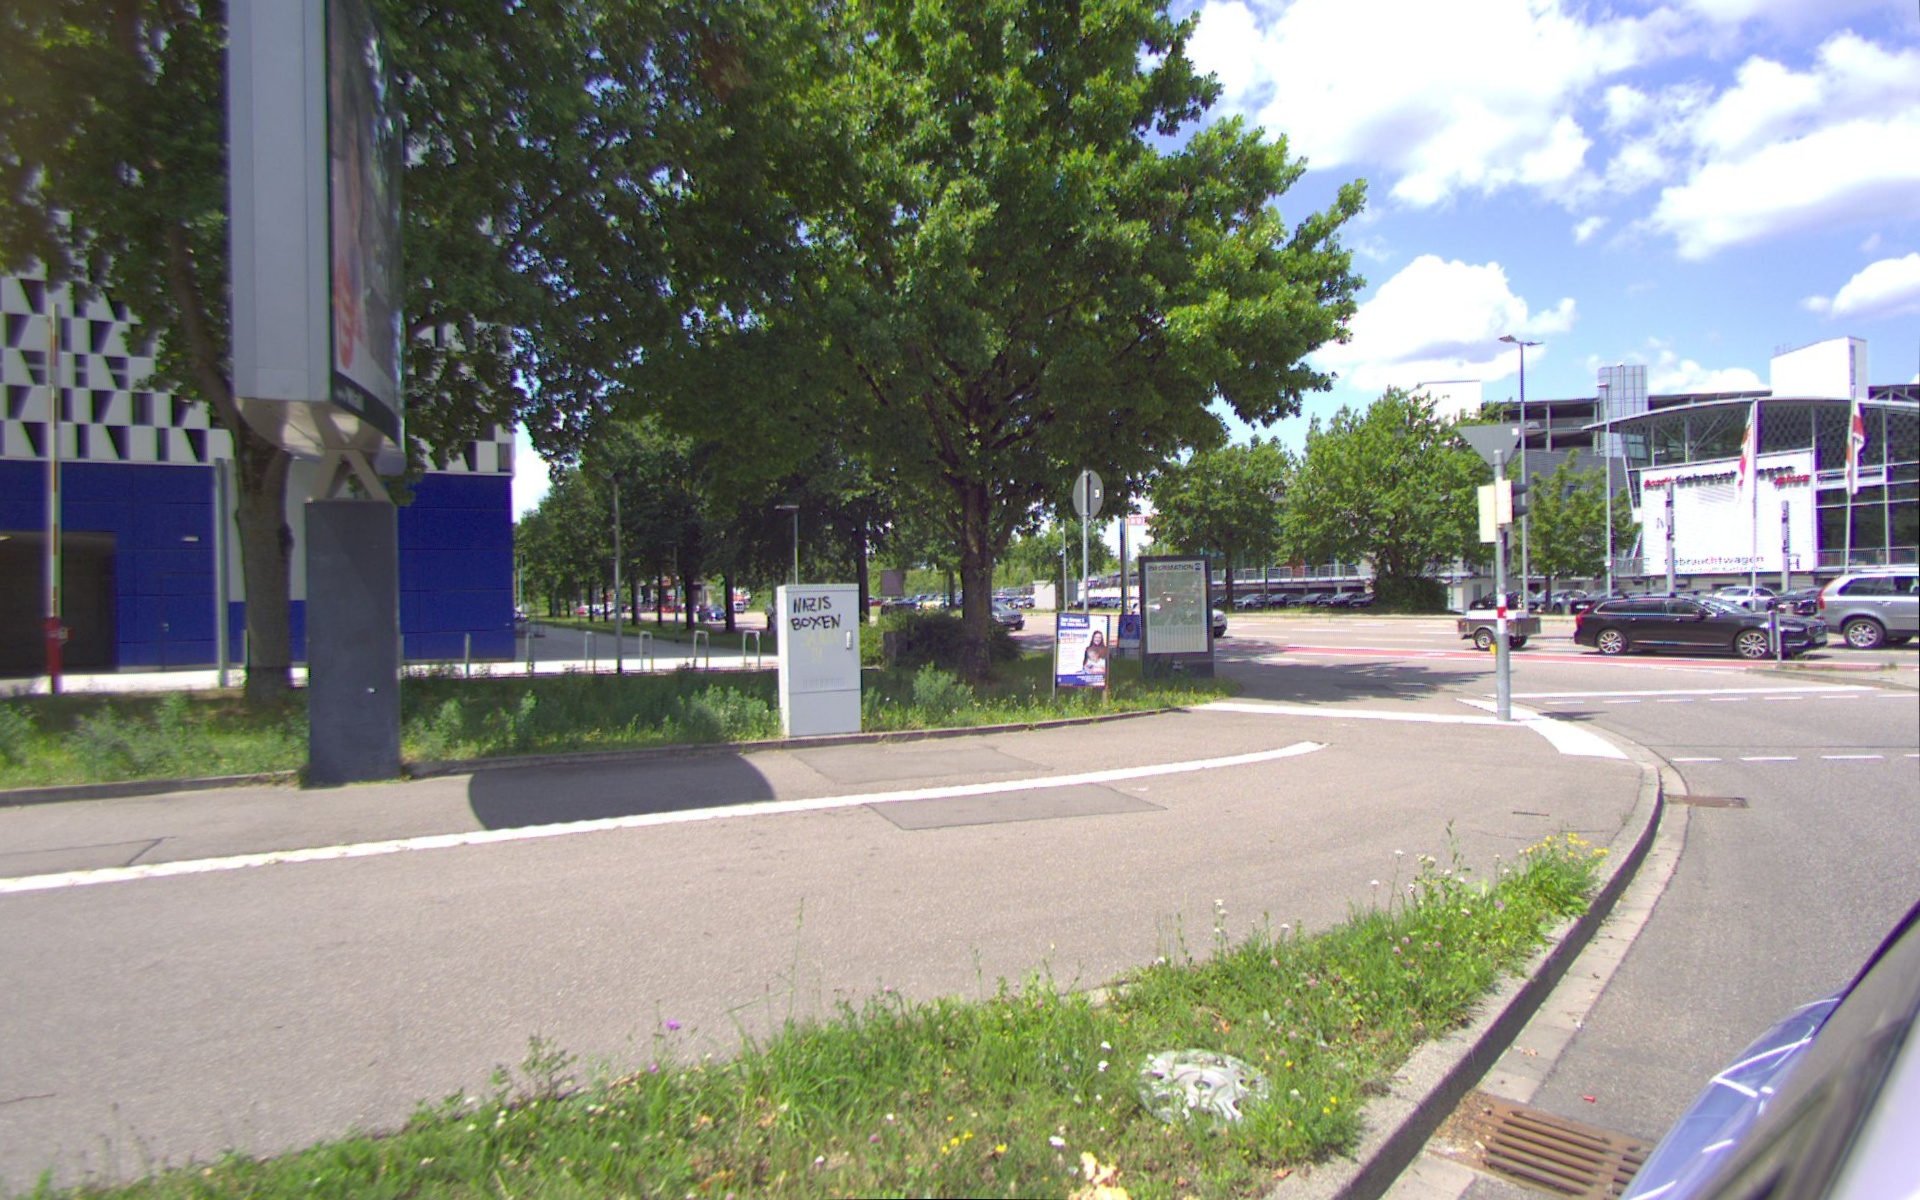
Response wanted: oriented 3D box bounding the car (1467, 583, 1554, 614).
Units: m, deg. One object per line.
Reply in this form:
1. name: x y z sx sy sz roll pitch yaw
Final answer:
1. car: 29.411 -0.088 54.121 3.916 1.571 1.801 0 0 -16

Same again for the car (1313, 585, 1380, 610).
1. car: 24.727 -0.164 64.687 3.917 1.571 1.800 -1 0 -25

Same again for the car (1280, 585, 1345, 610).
1. car: 23.425 -0.181 67.230 3.917 1.571 1.800 -1 0 -25

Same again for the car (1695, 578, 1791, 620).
1. car: 34.467 -0.032 44.551 3.682 1.750 1.866 -1 0 -26

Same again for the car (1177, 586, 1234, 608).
1. car: 18.424 -0.238 76.010 3.917 1.571 1.800 -1 0 -25

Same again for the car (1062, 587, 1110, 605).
1. car: 11.193 -0.332 89.878 3.917 1.571 1.800 -1 0 -25

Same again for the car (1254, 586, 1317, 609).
1. car: 22.238 -0.193 69.128 3.917 1.571 1.800 -1 0 -25

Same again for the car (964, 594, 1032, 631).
1. car: 1.924 0.621 52.488 1.826 1.749 3.764 -3 1 -28

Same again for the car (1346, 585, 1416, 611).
1. car: 25.889 -0.146 62.202 3.917 1.571 1.800 -1 0 -25

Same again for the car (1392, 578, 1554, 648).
1. car: 14.380 0.352 28.559 1.640 1.749 3.764 -3 1 -28

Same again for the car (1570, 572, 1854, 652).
1. car: 17.109 0.297 23.336 1.960 1.600 4.827 -2 -1 -28

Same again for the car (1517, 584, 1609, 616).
1. car: 30.693 0.007 51.506 3.916 1.571 1.801 0 0 -16

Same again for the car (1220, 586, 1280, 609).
1. car: 20.578 -0.209 71.765 3.917 1.571 1.800 -1 0 -25

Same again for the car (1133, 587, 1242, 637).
1. car: 8.868 0.465 39.727 1.826 1.749 4.196 -3 1 -28

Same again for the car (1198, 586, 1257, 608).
1. car: 19.489 -0.223 73.817 3.917 1.571 1.800 -1 0 -25

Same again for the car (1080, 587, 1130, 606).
1. car: 12.470 -0.313 87.146 3.917 1.571 1.800 -1 0 -25

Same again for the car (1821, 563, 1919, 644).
1. car: 21.932 0.045 21.831 1.826 1.750 4.761 -2 0 -28
